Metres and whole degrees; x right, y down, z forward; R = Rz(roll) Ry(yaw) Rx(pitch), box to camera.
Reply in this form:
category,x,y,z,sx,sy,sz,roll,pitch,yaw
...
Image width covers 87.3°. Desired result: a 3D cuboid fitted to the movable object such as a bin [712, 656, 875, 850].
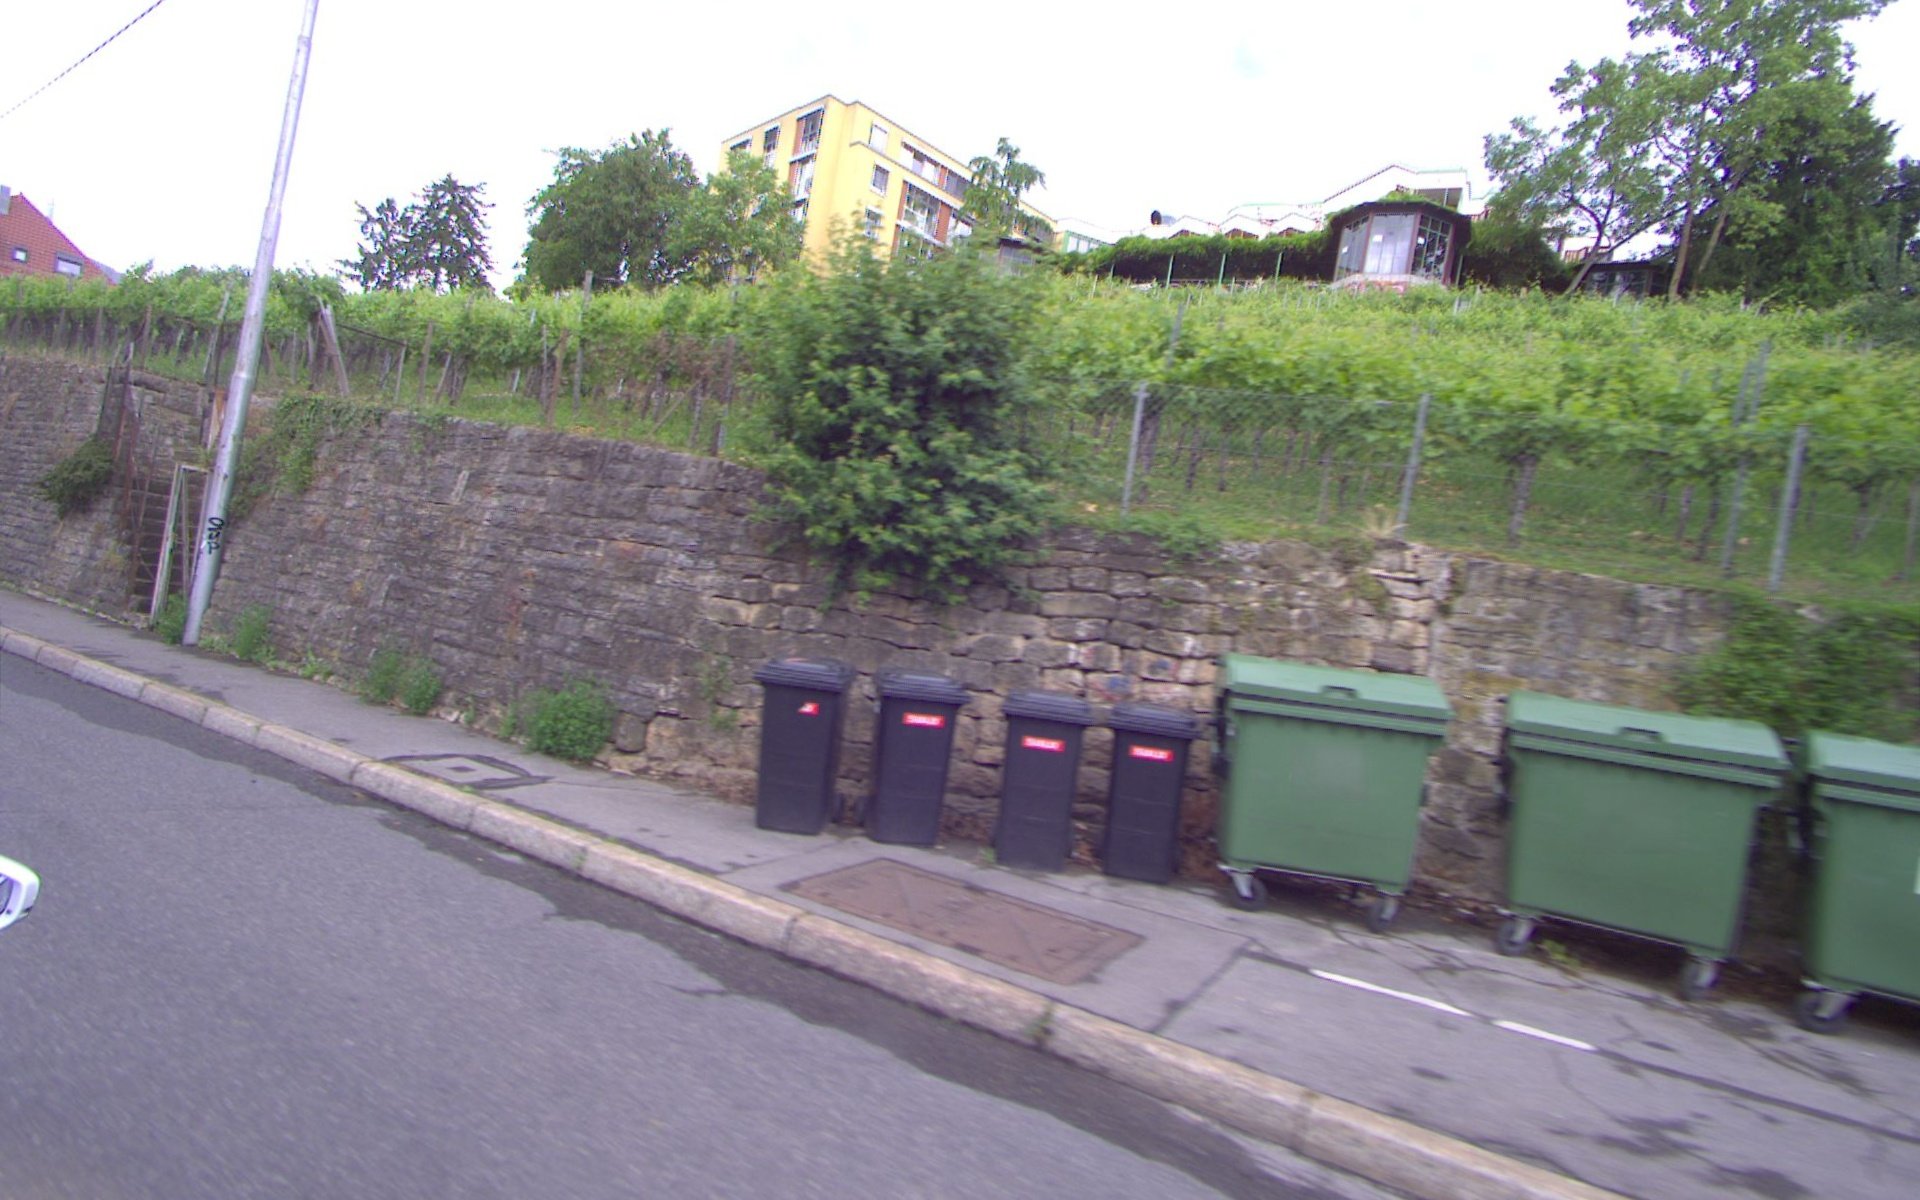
category,x,y,z,sx,sy,sz,roll,pitch,yaw
movable object such as a bin,-1.041,0.935,6.417,0.666,1.071,0.745,7,0,14

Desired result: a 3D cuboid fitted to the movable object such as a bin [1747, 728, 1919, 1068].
category,x,y,z,sx,sy,sz,roll,pitch,yaw
movable object such as a bin,4.828,1.468,4.985,1.185,1.462,1.049,7,-1,30

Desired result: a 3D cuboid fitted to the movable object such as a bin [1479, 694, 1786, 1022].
category,x,y,z,sx,sy,sz,roll,pitch,yaw
movable object such as a bin,3.715,1.347,5.726,1.184,1.462,1.050,7,-1,27

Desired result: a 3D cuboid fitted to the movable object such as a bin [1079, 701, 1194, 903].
category,x,y,z,sx,sy,sz,roll,pitch,yaw
movable object such as a bin,1.114,1.216,6.263,0.536,1.071,0.712,7,0,14

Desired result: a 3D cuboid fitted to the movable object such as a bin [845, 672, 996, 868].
category,x,y,z,sx,sy,sz,roll,pitch,yaw
movable object such as a bin,-0.232,1.045,6.442,0.666,1.071,0.745,7,0,14

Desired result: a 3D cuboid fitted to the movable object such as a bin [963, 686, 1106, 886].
category,x,y,z,sx,sy,sz,roll,pitch,yaw
movable object such as a bin,0.491,1.131,6.349,0.666,1.071,0.745,7,0,14

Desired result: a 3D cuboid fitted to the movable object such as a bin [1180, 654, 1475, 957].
category,x,y,z,sx,sy,sz,roll,pitch,yaw
movable object such as a bin,2.142,1.143,6.096,1.391,1.462,1.052,7,0,14
